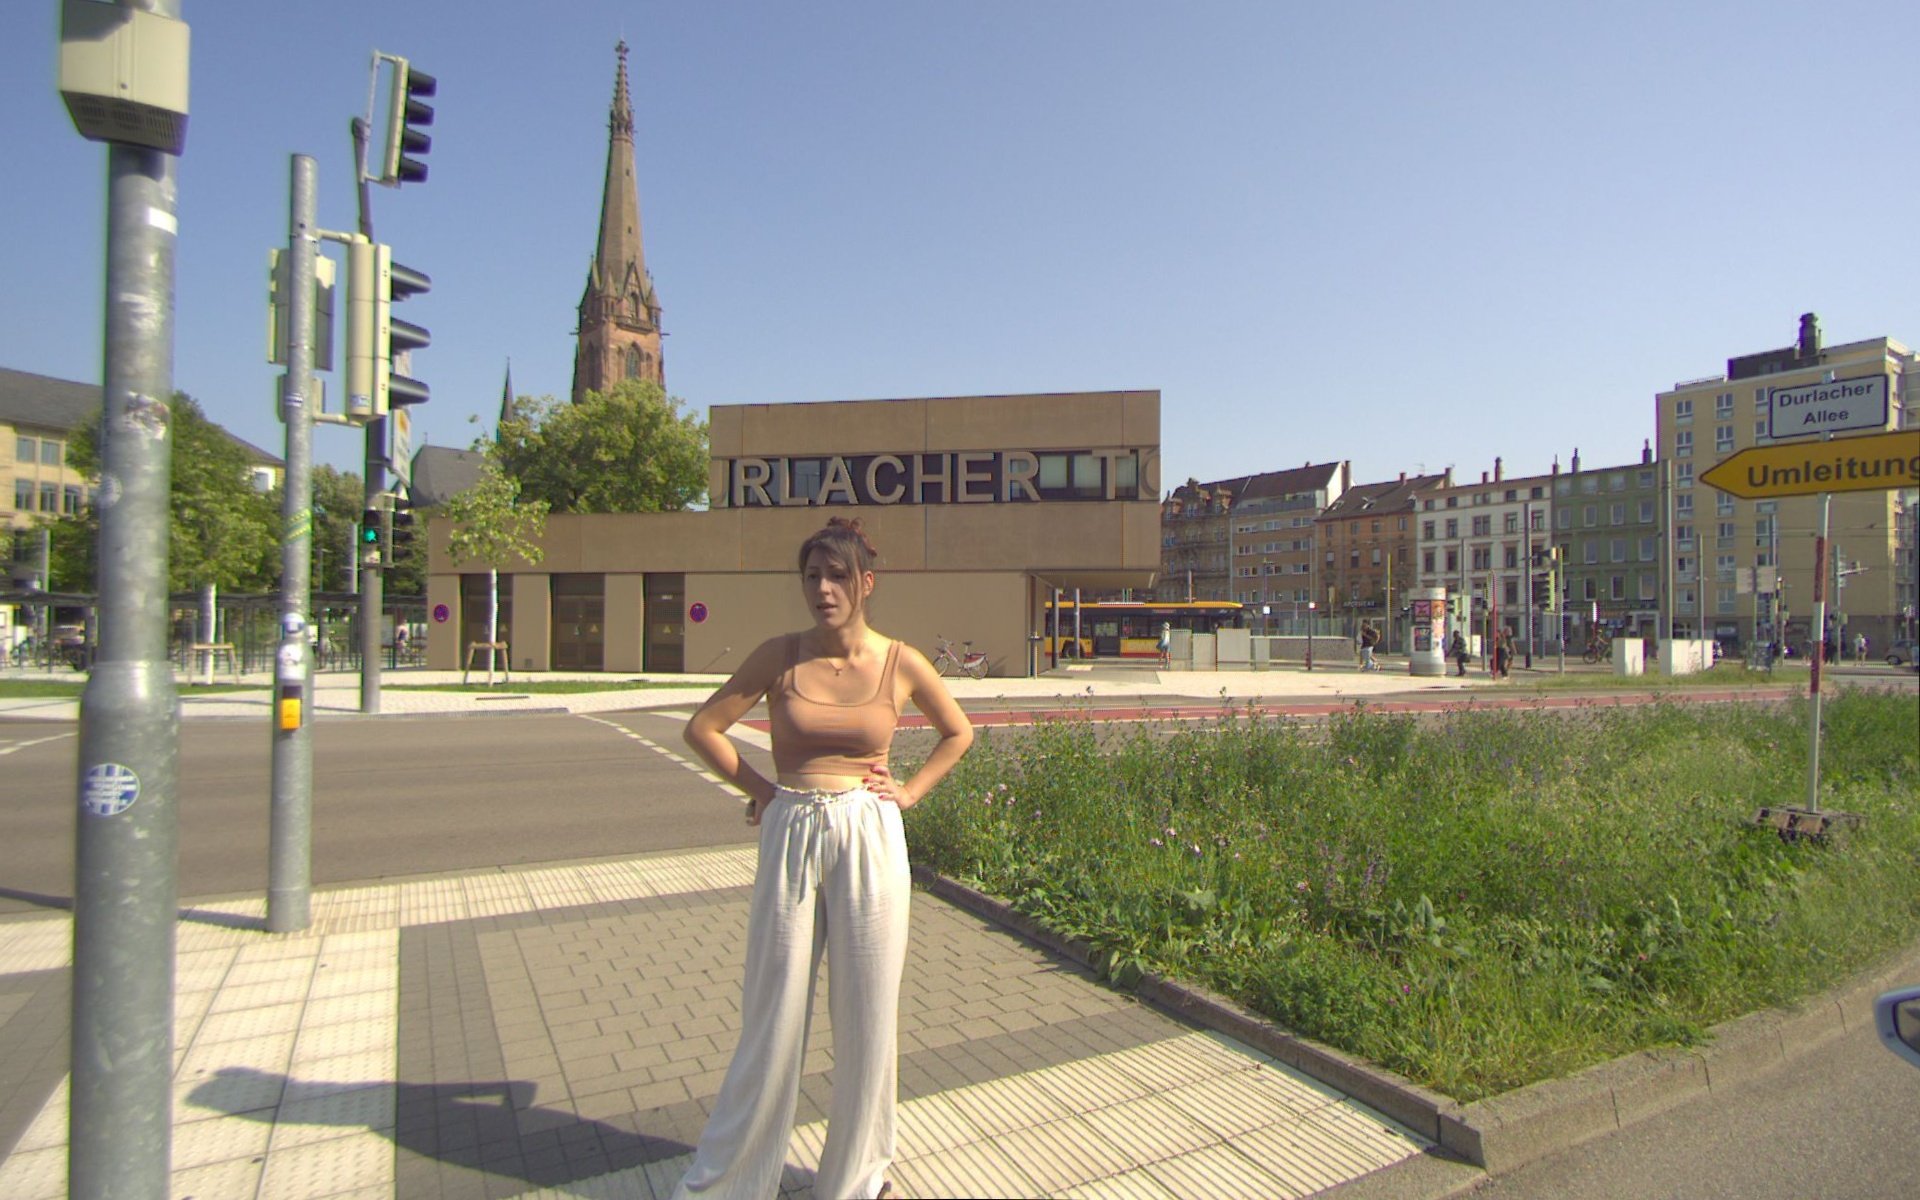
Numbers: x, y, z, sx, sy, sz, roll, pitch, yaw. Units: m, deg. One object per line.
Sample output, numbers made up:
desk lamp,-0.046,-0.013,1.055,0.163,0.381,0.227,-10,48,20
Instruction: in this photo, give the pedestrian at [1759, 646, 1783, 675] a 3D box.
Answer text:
pedestrian,49.774,3.688,61.643,0.913,1.712,0.916,1,-1,-35

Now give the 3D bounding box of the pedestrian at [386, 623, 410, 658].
pedestrian,-23.628,1.705,42.231,0.576,1.427,0.692,0,-2,6

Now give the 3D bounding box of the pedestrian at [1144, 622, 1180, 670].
pedestrian,7.335,1.669,36.541,0.856,1.694,0.982,1,-2,-30

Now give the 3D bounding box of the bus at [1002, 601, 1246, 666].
bus,8.248,1.678,51.268,11.966,3.149,2.719,0,-2,10

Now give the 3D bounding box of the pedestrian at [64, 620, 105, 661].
pedestrian,-38.856,1.790,44.585,0.988,1.784,0.862,0,-2,-4

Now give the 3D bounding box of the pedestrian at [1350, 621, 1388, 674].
pedestrian,14.190,1.653,34.846,0.850,1.793,0.989,1,-2,-9

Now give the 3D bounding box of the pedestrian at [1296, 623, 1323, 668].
pedestrian,14.141,1.834,40.639,0.691,1.824,0.775,1,-2,-25

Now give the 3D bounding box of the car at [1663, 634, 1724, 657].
car,58.218,3.594,79.813,1.959,1.700,4.553,1,-1,7

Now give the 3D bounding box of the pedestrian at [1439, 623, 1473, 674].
pedestrian,17.757,1.731,35.943,0.766,1.824,0.797,1,-2,-13

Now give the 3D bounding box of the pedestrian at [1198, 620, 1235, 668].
pedestrian,9.448,1.605,37.009,0.856,1.727,0.982,1,-2,-30

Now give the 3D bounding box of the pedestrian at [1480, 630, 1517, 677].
pedestrian,18.645,1.837,34.797,0.970,1.579,0.866,0,-2,17

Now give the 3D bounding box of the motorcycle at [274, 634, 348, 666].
motorcycle,-25.059,1.911,38.794,2.328,1.221,0.760,0,-2,1

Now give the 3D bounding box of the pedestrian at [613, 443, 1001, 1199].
pedestrian,-0.313,0.525,2.436,0.763,1.676,0.669,0,-2,7

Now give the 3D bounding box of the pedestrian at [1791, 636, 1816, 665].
pedestrian,51.278,3.065,61.064,0.913,1.712,0.916,1,-1,-35

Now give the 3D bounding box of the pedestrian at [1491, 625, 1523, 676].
pedestrian,19.803,1.810,36.361,0.691,1.824,0.775,1,-2,-25

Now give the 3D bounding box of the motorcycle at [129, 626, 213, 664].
motorcycle,-31.165,1.786,39.686,2.714,1.468,0.790,0,-2,2

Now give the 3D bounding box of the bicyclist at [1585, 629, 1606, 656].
bicyclist,36.549,2.433,57.750,0.717,1.547,0.791,1,-2,-29

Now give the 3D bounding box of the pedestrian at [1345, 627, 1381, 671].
pedestrian,14.651,1.767,36.528,0.849,1.583,0.989,1,-2,-4

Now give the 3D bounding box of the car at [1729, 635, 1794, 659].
car,60.235,3.511,75.578,1.959,1.700,4.553,0,-1,11

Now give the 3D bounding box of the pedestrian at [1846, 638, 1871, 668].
pedestrian,52.529,3.098,58.704,0.913,1.712,0.916,1,-1,-35

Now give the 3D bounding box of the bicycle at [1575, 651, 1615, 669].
bicycle,36.514,3.430,57.781,0.717,0.944,1.805,1,-2,-28

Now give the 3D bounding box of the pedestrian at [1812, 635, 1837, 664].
pedestrian,51.636,2.965,60.013,0.913,1.712,0.916,1,-1,-35

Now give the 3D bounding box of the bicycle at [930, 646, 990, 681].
bicycle,0.004,1.663,26.507,1.516,0.849,0.593,0,1,11
